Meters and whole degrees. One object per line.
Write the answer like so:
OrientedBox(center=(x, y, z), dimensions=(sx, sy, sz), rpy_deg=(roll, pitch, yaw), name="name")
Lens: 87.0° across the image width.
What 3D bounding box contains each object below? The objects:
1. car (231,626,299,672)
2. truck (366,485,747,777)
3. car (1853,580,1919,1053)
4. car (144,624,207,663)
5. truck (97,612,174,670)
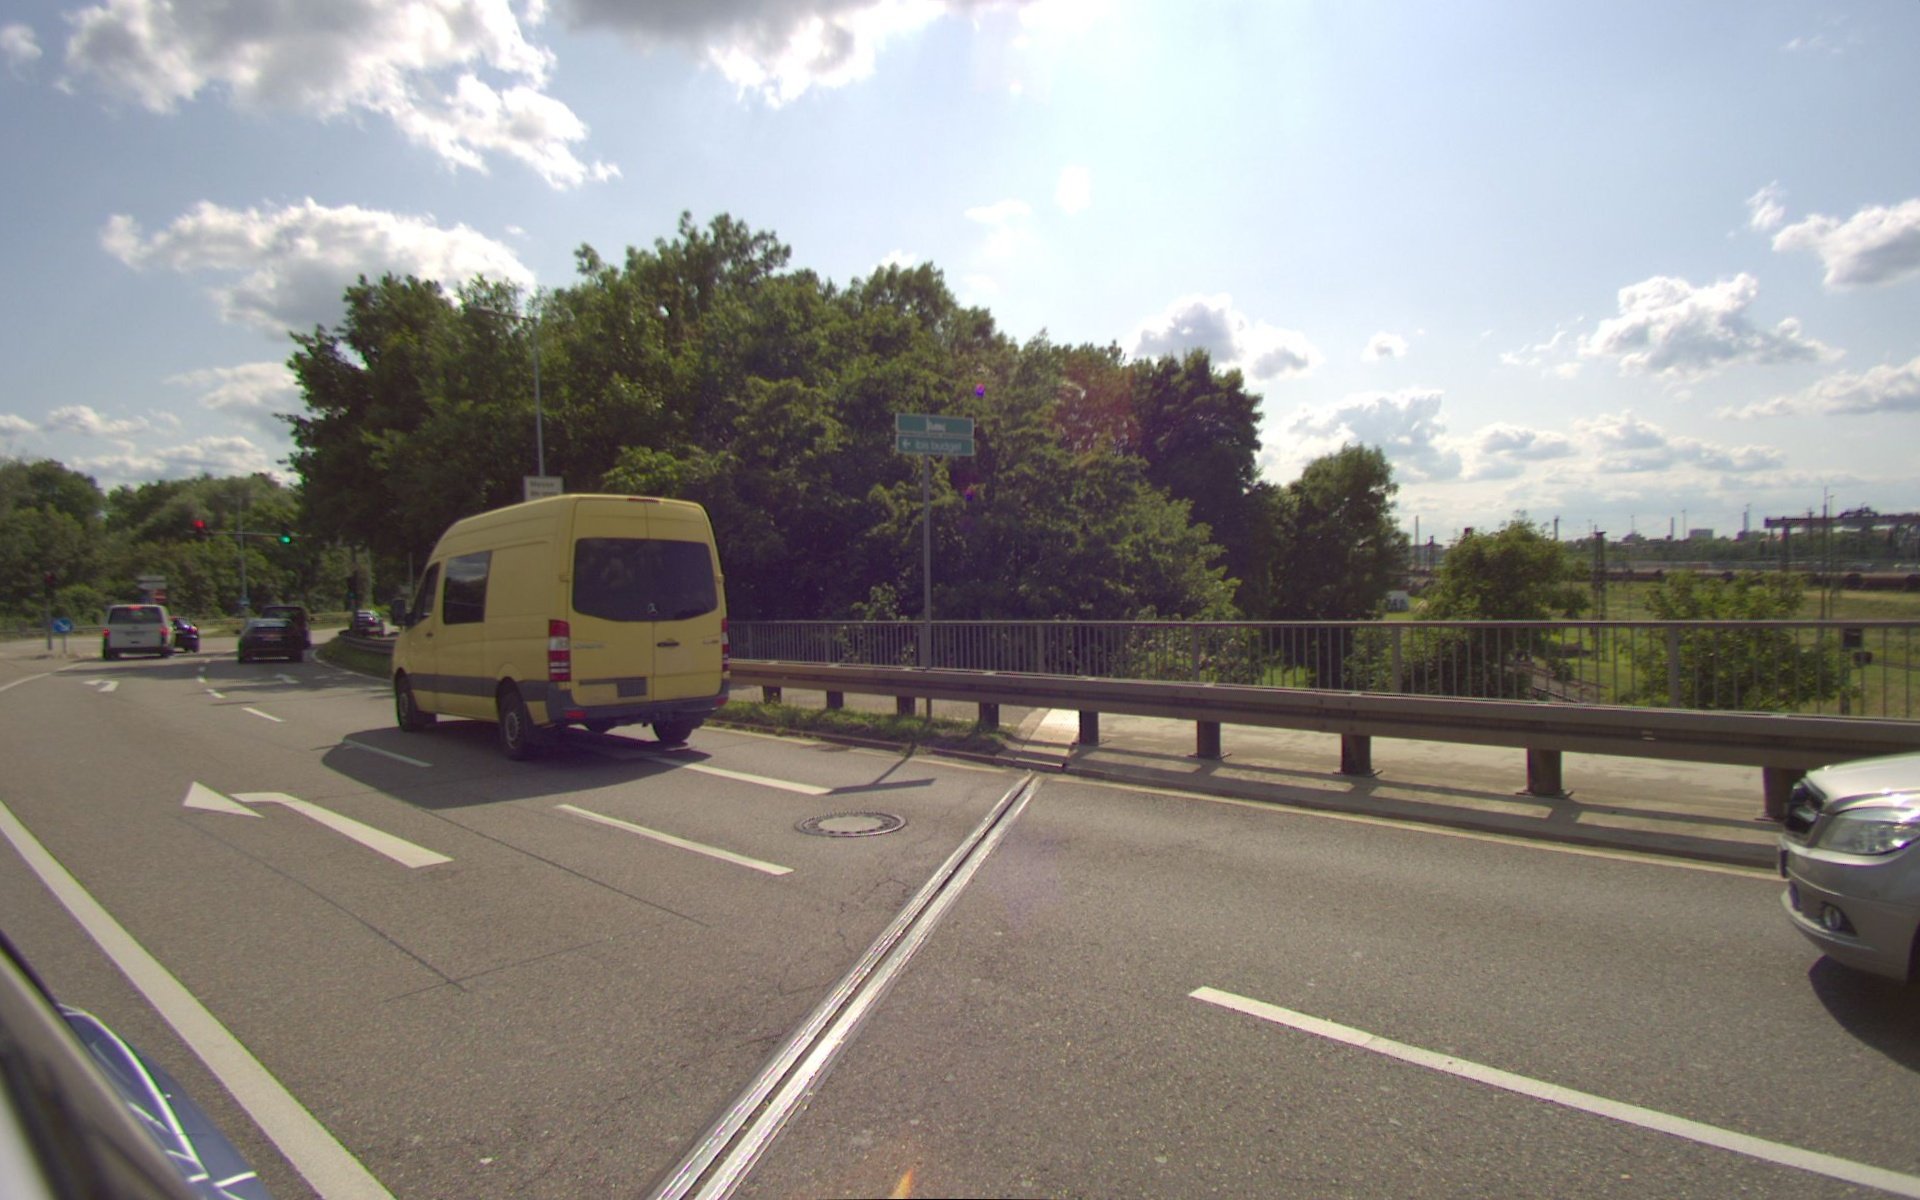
OrientedBox(center=(-23.309, 1.597, 33.934), dimensions=(1.774, 1.400, 4.016), rpy_deg=(0, -1, -35), name="car")
OrientedBox(center=(-5.082, 0.351, 12.042), dimensions=(1.971, 2.641, 6.107), rpy_deg=(0, -1, -45), name="truck")
OrientedBox(center=(5.107, 0.643, 2.450), dimensions=(4.334, 1.460, 1.730), rpy_deg=(-1, -1, 40), name="car")
OrientedBox(center=(-33.525, 1.820, 43.208), dimensions=(1.678, 1.569, 3.824), rpy_deg=(0, -1, -45), name="car")
OrientedBox(center=(-30.167, 1.464, 37.140), dimensions=(1.935, 1.927, 5.382), rpy_deg=(-1, -1, -37), name="truck")
